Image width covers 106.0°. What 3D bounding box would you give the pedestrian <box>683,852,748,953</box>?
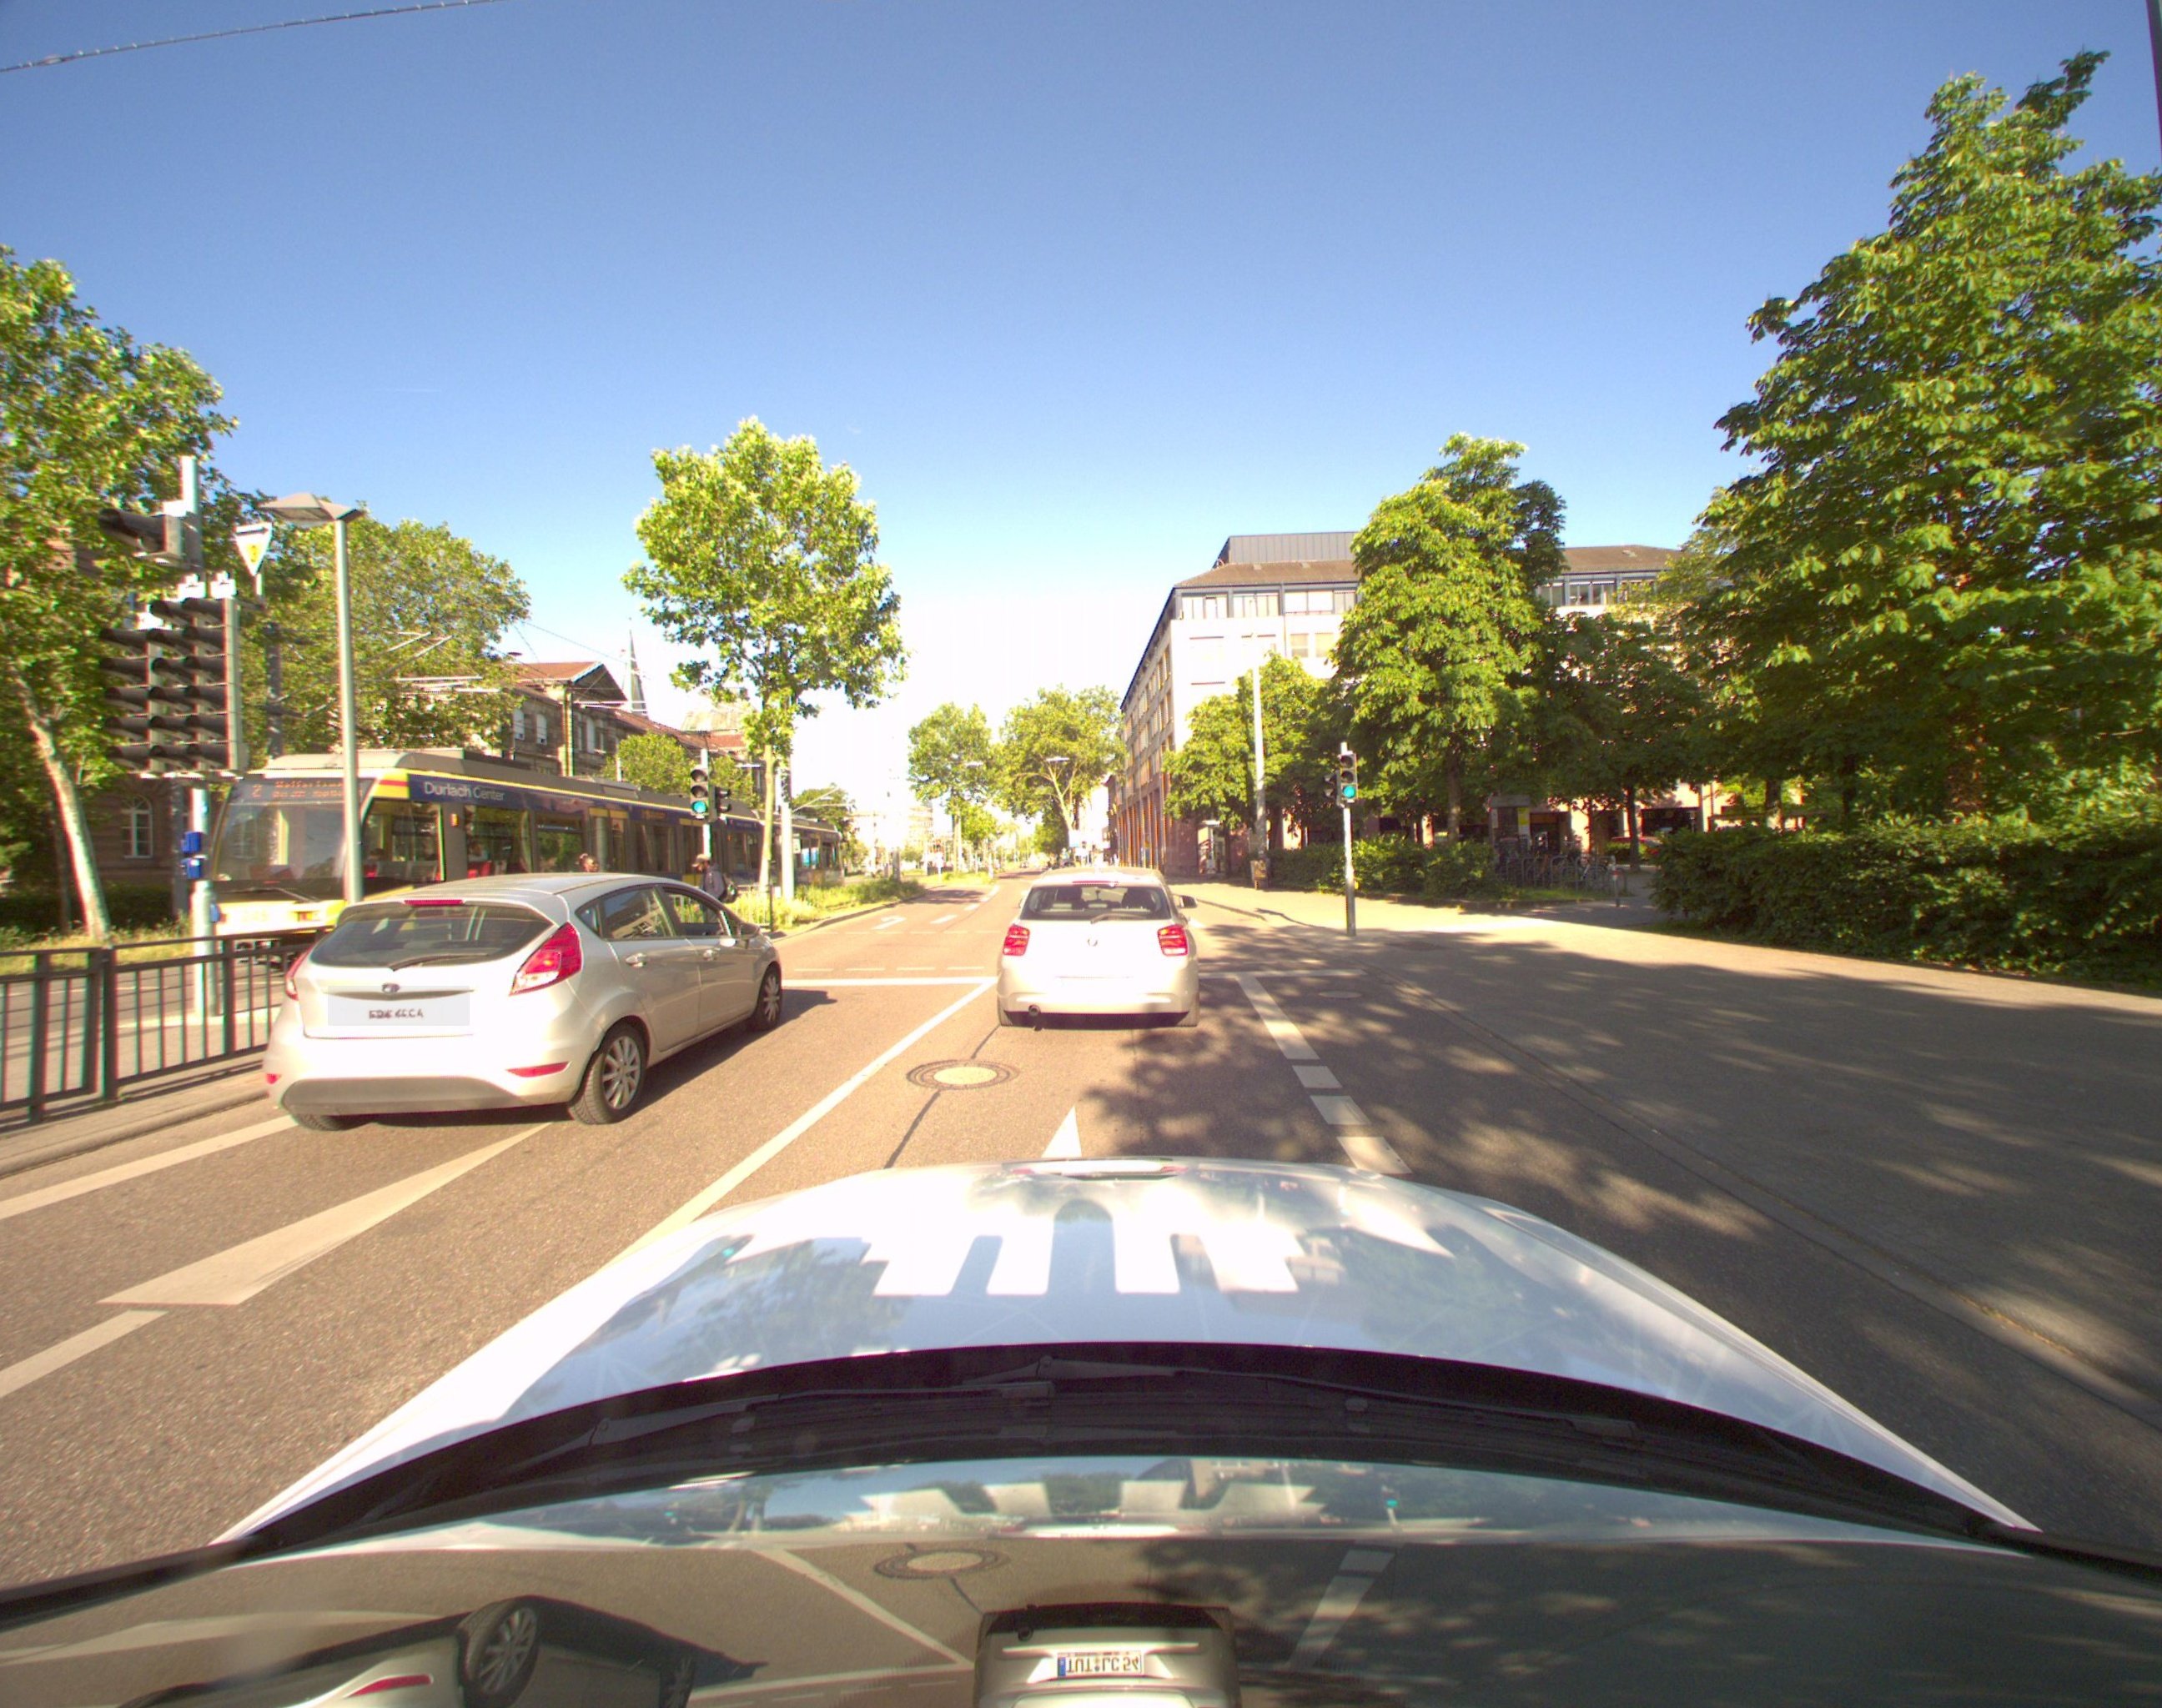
[{"bbox_3d":[-6.177,0.800,13.751,0.946,1.629,0.623,-1,-1,-28],"label":"pedestrian"}]

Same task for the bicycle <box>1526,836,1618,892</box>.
[{"bbox_3d":[12.777,0.264,21.226,1.990,1.314,0.574,-3,-1,0],"label":"bicycle"}]

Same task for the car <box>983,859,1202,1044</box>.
[{"bbox_3d":[0.250,0.780,8.345,1.722,1.390,3.845,0,0,5],"label":"car"}]

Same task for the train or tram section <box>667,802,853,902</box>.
[{"bbox_3d":[-12.251,0.092,32.981,2.908,3.260,13.097,0,-1,-3],"label":"train or tram section"}]

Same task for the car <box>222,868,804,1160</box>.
[{"bbox_3d":[-3.445,0.827,5.882,1.655,1.409,3.630,-1,-1,-1],"label":"car"}]

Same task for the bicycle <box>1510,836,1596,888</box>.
[{"bbox_3d":[13.082,0.222,22.600,1.990,1.314,0.574,-3,-1,0],"label":"bicycle"}]

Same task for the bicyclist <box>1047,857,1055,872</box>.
[{"bbox_3d":[-3.566,1.259,96.860,0.655,1.657,0.766,-3,-1,7],"label":"bicyclist"}]

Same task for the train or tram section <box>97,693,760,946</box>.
[{"bbox_3d":[-11.541,-0.257,18.510,2.908,3.260,15.874,0,-1,-3],"label":"train or tram section"}]

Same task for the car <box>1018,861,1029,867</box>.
[{"bbox_3d":[-15.266,2.630,216.221,1.999,1.486,3.975,-2,-1,-18],"label":"car"}]

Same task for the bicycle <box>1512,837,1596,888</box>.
[{"bbox_3d":[13.472,0.238,23.215,1.990,1.314,0.574,-3,-1,0],"label":"bicycle"}]

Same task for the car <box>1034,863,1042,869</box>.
[{"bbox_3d":[-13.115,3.691,248.652,1.986,2.014,4.002,0,-2,2],"label":"car"}]

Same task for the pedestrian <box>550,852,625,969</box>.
[{"bbox_3d":[-6.879,0.771,11.379,0.630,1.557,0.645,-2,-1,-7],"label":"pedestrian"}]

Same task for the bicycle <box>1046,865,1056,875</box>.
[{"bbox_3d":[-3.558,1.894,96.858,0.827,1.041,1.878,-3,0,7],"label":"bicycle"}]
